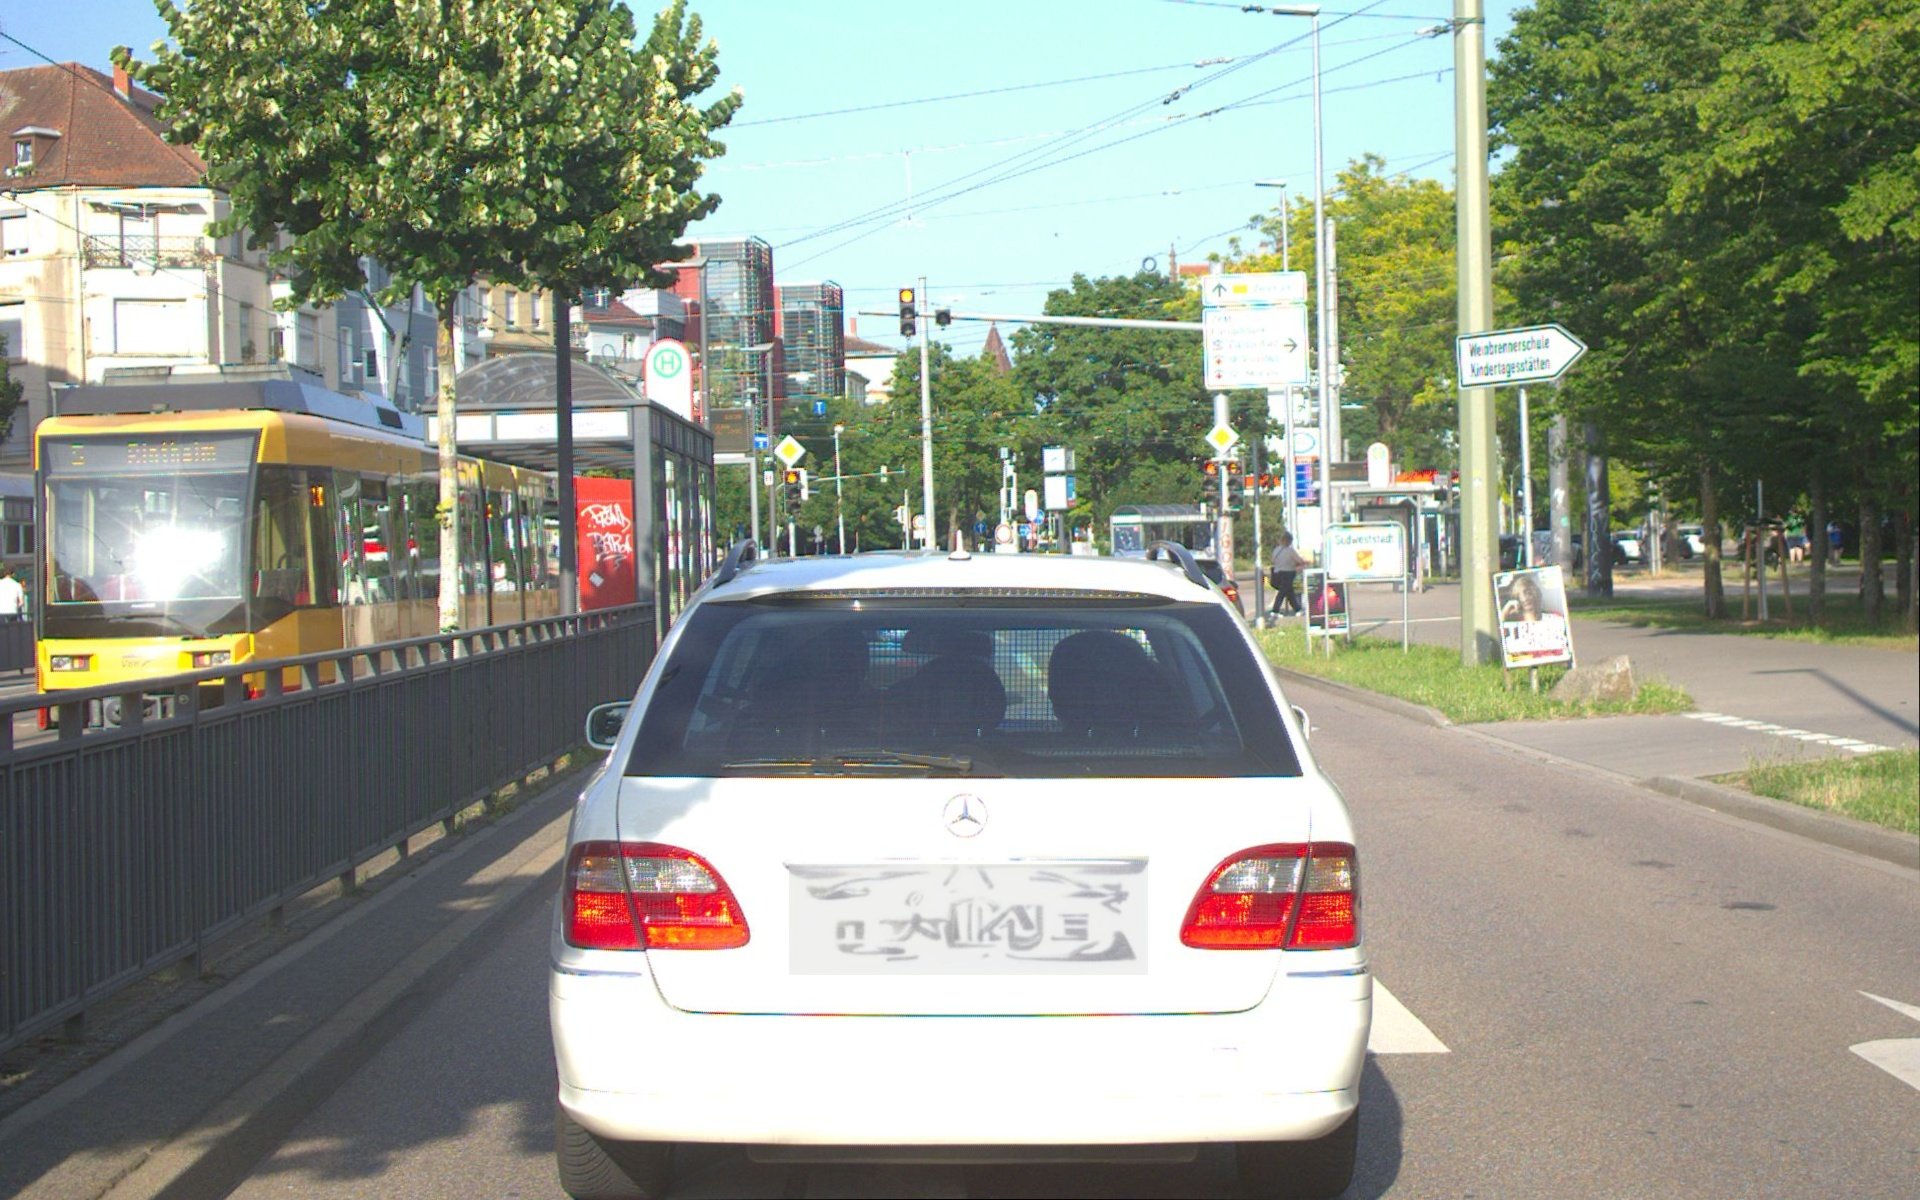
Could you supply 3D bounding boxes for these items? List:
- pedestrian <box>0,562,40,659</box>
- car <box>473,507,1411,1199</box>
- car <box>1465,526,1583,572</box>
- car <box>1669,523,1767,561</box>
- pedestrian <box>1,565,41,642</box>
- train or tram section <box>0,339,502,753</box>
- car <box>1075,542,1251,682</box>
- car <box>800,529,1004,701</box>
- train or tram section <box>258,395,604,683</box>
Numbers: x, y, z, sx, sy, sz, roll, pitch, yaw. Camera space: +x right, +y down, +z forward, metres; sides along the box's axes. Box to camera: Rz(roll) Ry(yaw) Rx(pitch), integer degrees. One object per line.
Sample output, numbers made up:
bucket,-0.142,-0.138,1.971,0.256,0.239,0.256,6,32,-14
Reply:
pedestrian,-17.263,0.185,62.625,0.886,1.747,0.746,-1,1,-11
car,-0.037,0.567,8.582,1.758,1.498,4.000,-2,1,0
car,21.454,-1.940,130.853,3.992,1.645,1.997,-1,1,25
car,34.909,-2.679,158.334,3.986,1.645,2.000,-2,1,-27
pedestrian,-21.760,0.075,79.680,0.665,1.747,0.746,-1,1,4
train or tram section,-7.010,-0.609,35.457,2.849,3.467,13.201,0,1,0
car,2.496,0.111,42.177,2.033,1.600,4.000,-1,1,4
car,-0.550,0.107,35.984,1.787,1.684,4.000,-1,1,4
train or tram section,-7.118,-0.876,48.409,2.849,3.467,13.201,-1,1,0
